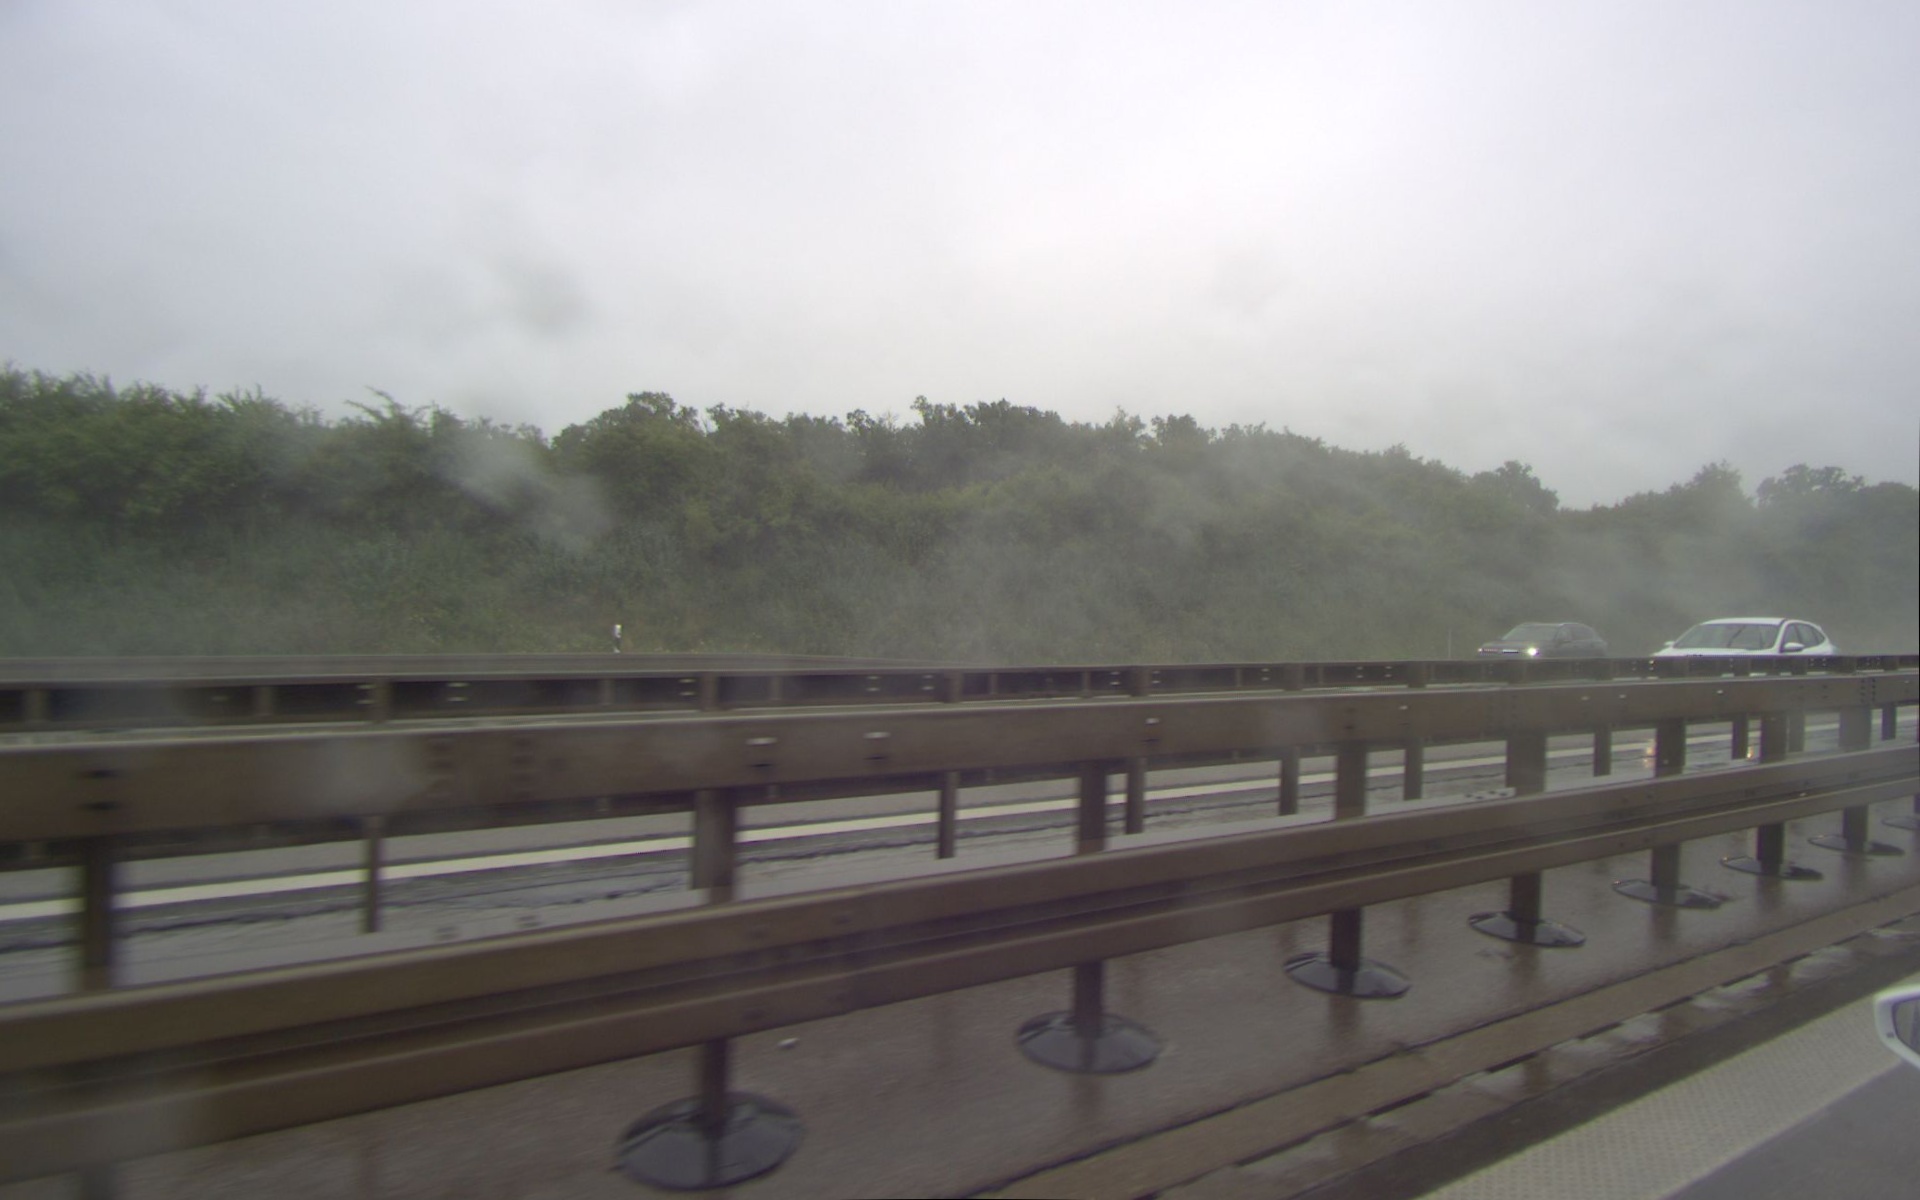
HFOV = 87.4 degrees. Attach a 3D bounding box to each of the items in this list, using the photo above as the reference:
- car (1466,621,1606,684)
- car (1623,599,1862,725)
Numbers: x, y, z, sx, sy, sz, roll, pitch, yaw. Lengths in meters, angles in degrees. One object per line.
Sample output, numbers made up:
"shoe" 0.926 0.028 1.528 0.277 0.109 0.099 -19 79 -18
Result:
"car" 16.293 1.435 28.384 3.950 1.595 1.617 0 1 -29
"car" 14.114 1.060 18.114 3.951 2.040 1.985 2 -1 -28
